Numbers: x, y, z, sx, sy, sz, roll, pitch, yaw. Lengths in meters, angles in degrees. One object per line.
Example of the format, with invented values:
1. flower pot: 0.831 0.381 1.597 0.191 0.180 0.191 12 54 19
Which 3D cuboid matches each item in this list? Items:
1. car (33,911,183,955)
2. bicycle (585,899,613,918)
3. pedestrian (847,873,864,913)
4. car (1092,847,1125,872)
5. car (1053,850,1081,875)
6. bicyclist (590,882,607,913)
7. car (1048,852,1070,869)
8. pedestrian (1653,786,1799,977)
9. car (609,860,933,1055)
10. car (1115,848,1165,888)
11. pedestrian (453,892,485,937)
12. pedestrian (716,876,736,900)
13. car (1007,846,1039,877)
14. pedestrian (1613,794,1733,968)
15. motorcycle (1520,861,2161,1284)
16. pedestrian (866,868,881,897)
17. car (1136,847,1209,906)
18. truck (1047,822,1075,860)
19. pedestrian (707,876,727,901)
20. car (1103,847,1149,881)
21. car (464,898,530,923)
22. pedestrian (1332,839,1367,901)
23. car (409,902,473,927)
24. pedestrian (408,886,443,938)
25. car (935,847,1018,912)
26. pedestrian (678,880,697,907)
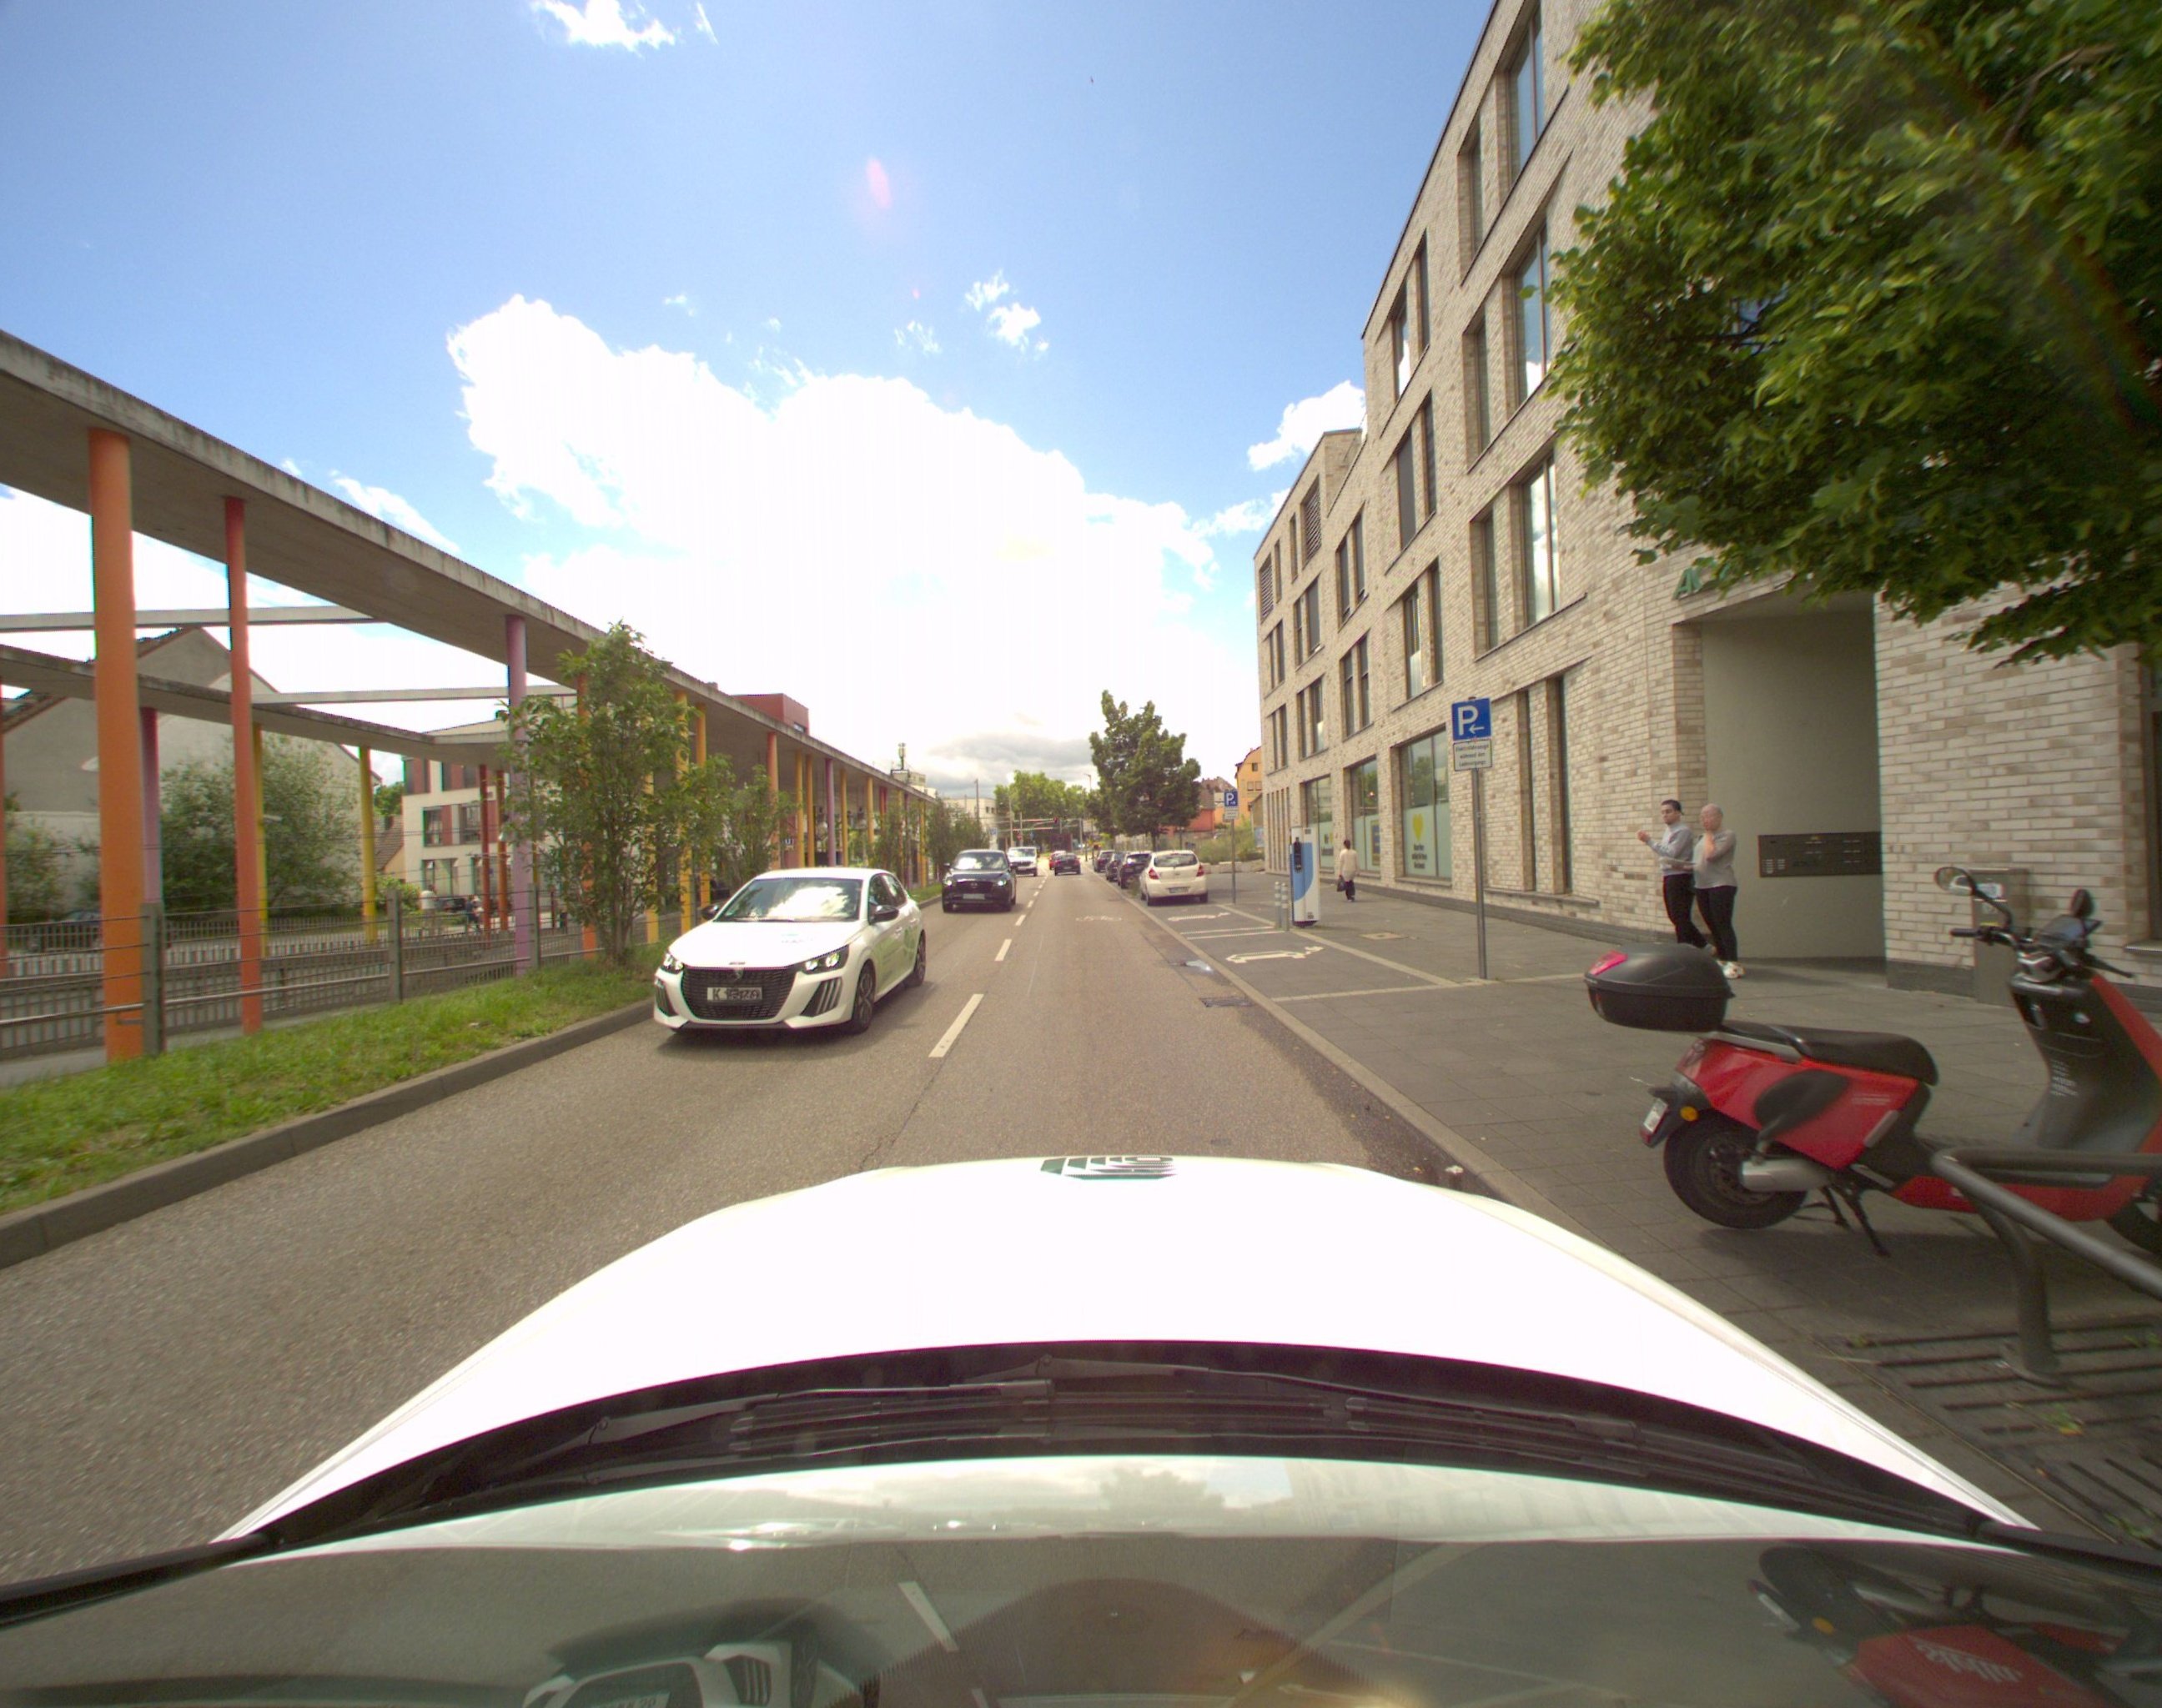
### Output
1. car: -32.453 2.620 27.189 3.958 1.337 1.576 -1 -2 13
2. bicycle: -25.448 2.860 42.992 0.482 0.963 1.613 -1 -2 2
3. pedestrian: -10.363 1.776 37.448 0.584 1.830 0.710 -1 -2 0
4. car: 1.810 0.349 54.543 1.778 1.451 4.471 -4 0 -3
5. car: -0.968 0.532 53.850 1.722 1.456 3.805 -3 1 -3
6. bicyclist: -25.456 2.272 42.982 0.482 1.593 0.681 -1 -2 1
7. car: -1.974 0.560 71.348 1.708 1.393 3.803 -3 1 -4
8. pedestrian: 6.358 0.260 8.063 0.734 1.766 0.754 -3 -1 -15
9. car: -2.793 0.824 8.362 1.806 1.469 3.907 -1 0 0
10. car: 2.344 0.529 33.378 1.687 1.461 4.147 -4 0 0
11. pedestrian: -23.013 2.255 30.624 0.640 1.662 0.730 -1 -2 -1
12. pedestrian: -21.009 2.000 48.191 0.820 1.379 0.702 -1 1 -1
13. car: -3.843 0.483 53.648 2.000 1.917 5.056 -1 0 -5
14. pedestrian: 6.352 0.283 8.764 0.735 1.766 0.622 -3 -1 -8
15. motorcycle: 2.872 0.734 3.001 2.034 1.266 0.675 -4 -1 16
16. pedestrian: -11.643 1.584 45.684 0.627 1.614 0.636 -1 1 0
17. car: 2.594 0.589 23.936 1.687 1.483 3.798 -4 0 1
18. truck: -2.480 -1.559 104.416 3.192 4.536 9.027 -1 -1 0
19. pedestrian: -21.050 1.978 47.092 0.820 1.379 0.702 -1 1 -1
20. car: 2.125 0.457 39.898 1.859 1.451 4.641 -4 0 -1
21. car: -37.375 3.594 52.094 3.674 1.325 1.656 -5 -3 22
22. pedestrian: 6.620 0.378 20.121 0.604 1.472 0.792 -4 0 7
23. car: -42.396 4.017 53.951 3.674 1.325 1.656 -5 -3 22
24. pedestrian: -24.251 2.129 30.153 0.640 1.883 0.799 -1 -2 -1
25. car: -2.797 0.643 22.773 1.915 1.605 4.622 -1 0 -3
26. pedestrian: -21.402 2.148 44.298 0.649 1.379 0.702 -1 1 -1
